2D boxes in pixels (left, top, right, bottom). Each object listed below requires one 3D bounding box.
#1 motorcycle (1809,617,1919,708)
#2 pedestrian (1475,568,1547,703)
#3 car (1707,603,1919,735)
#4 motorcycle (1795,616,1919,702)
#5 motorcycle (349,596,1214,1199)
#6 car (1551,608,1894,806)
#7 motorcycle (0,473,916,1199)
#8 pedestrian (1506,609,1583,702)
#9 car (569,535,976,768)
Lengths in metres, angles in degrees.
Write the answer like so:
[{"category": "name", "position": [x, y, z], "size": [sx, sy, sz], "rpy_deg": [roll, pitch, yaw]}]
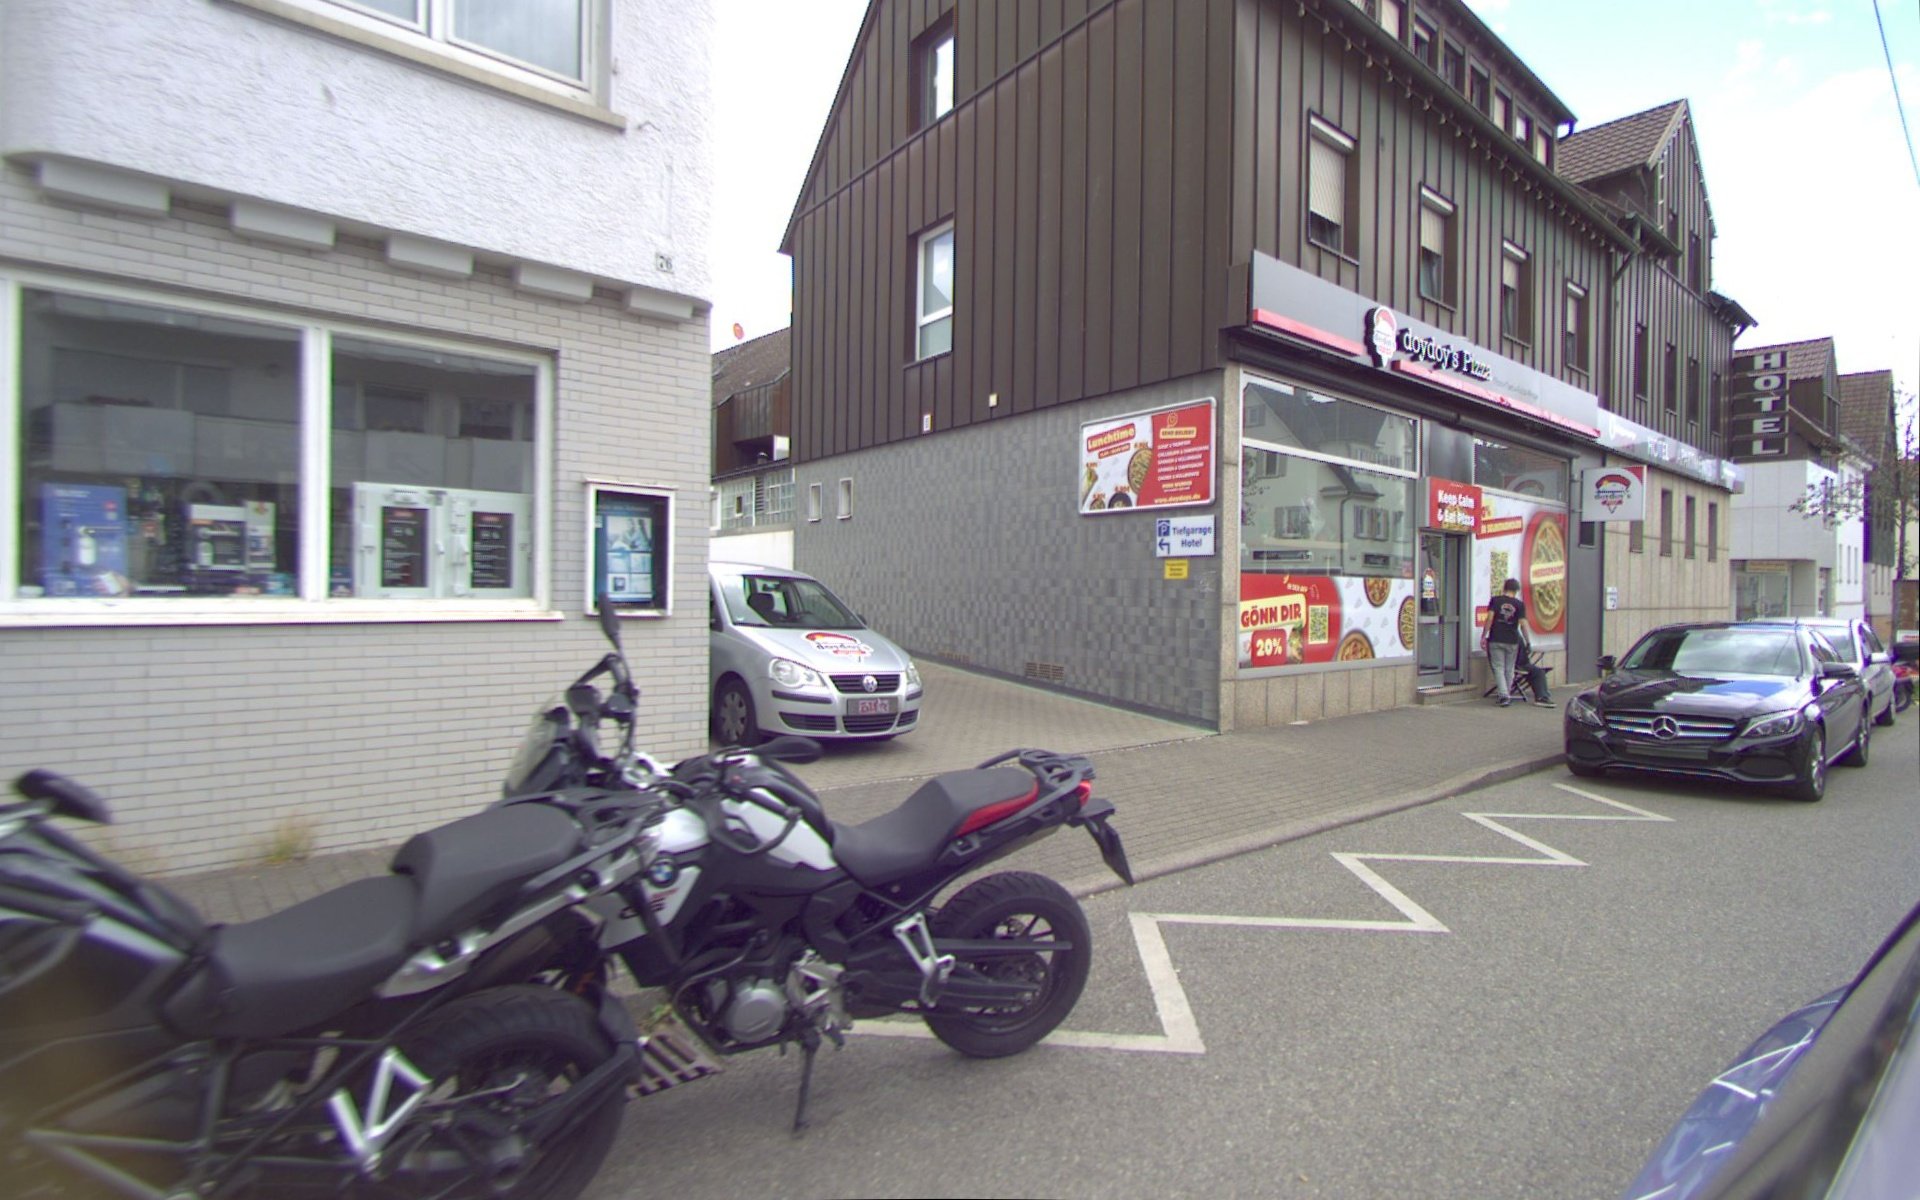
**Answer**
[{"category": "motorcycle", "position": [13.797, 0.923, 15.163], "size": [1.566, 1.308, 0.498], "rpy_deg": [0, 0, 20]}, {"category": "pedestrian", "position": [7.479, 0.453, 13.734], "size": [0.642, 1.762, 0.731], "rpy_deg": [2, 1, 44]}, {"category": "car", "position": [11.237, 0.780, 13.230], "size": [3.835, 1.460, 1.643], "rpy_deg": [0, 0, -42]}, {"category": "motorcycle", "position": [14.448, 0.917, 16.020], "size": [1.841, 1.308, 0.530], "rpy_deg": [0, 0, 12]}, {"category": "motorcycle", "position": [-0.423, 0.720, 3.118], "size": [2.418, 1.458, 0.651], "rpy_deg": [0, 0, -22]}, {"category": "car", "position": [7.463, 0.814, 9.725], "size": [4.487, 1.426, 1.827], "rpy_deg": [0, 0, -42]}, {"category": "motorcycle", "position": [-1.342, 0.585, 1.919], "size": [2.548, 1.544, 0.673], "rpy_deg": [0, 0, -34]}, {"category": "pedestrian", "position": [8.166, 0.750, 14.140], "size": [0.633, 1.226, 0.741], "rpy_deg": [0, 1, -41]}, {"category": "car", "position": [-1.941, 0.266, 9.371], "size": [1.822, 1.607, 4.208], "rpy_deg": [0, 3, -41]}]
